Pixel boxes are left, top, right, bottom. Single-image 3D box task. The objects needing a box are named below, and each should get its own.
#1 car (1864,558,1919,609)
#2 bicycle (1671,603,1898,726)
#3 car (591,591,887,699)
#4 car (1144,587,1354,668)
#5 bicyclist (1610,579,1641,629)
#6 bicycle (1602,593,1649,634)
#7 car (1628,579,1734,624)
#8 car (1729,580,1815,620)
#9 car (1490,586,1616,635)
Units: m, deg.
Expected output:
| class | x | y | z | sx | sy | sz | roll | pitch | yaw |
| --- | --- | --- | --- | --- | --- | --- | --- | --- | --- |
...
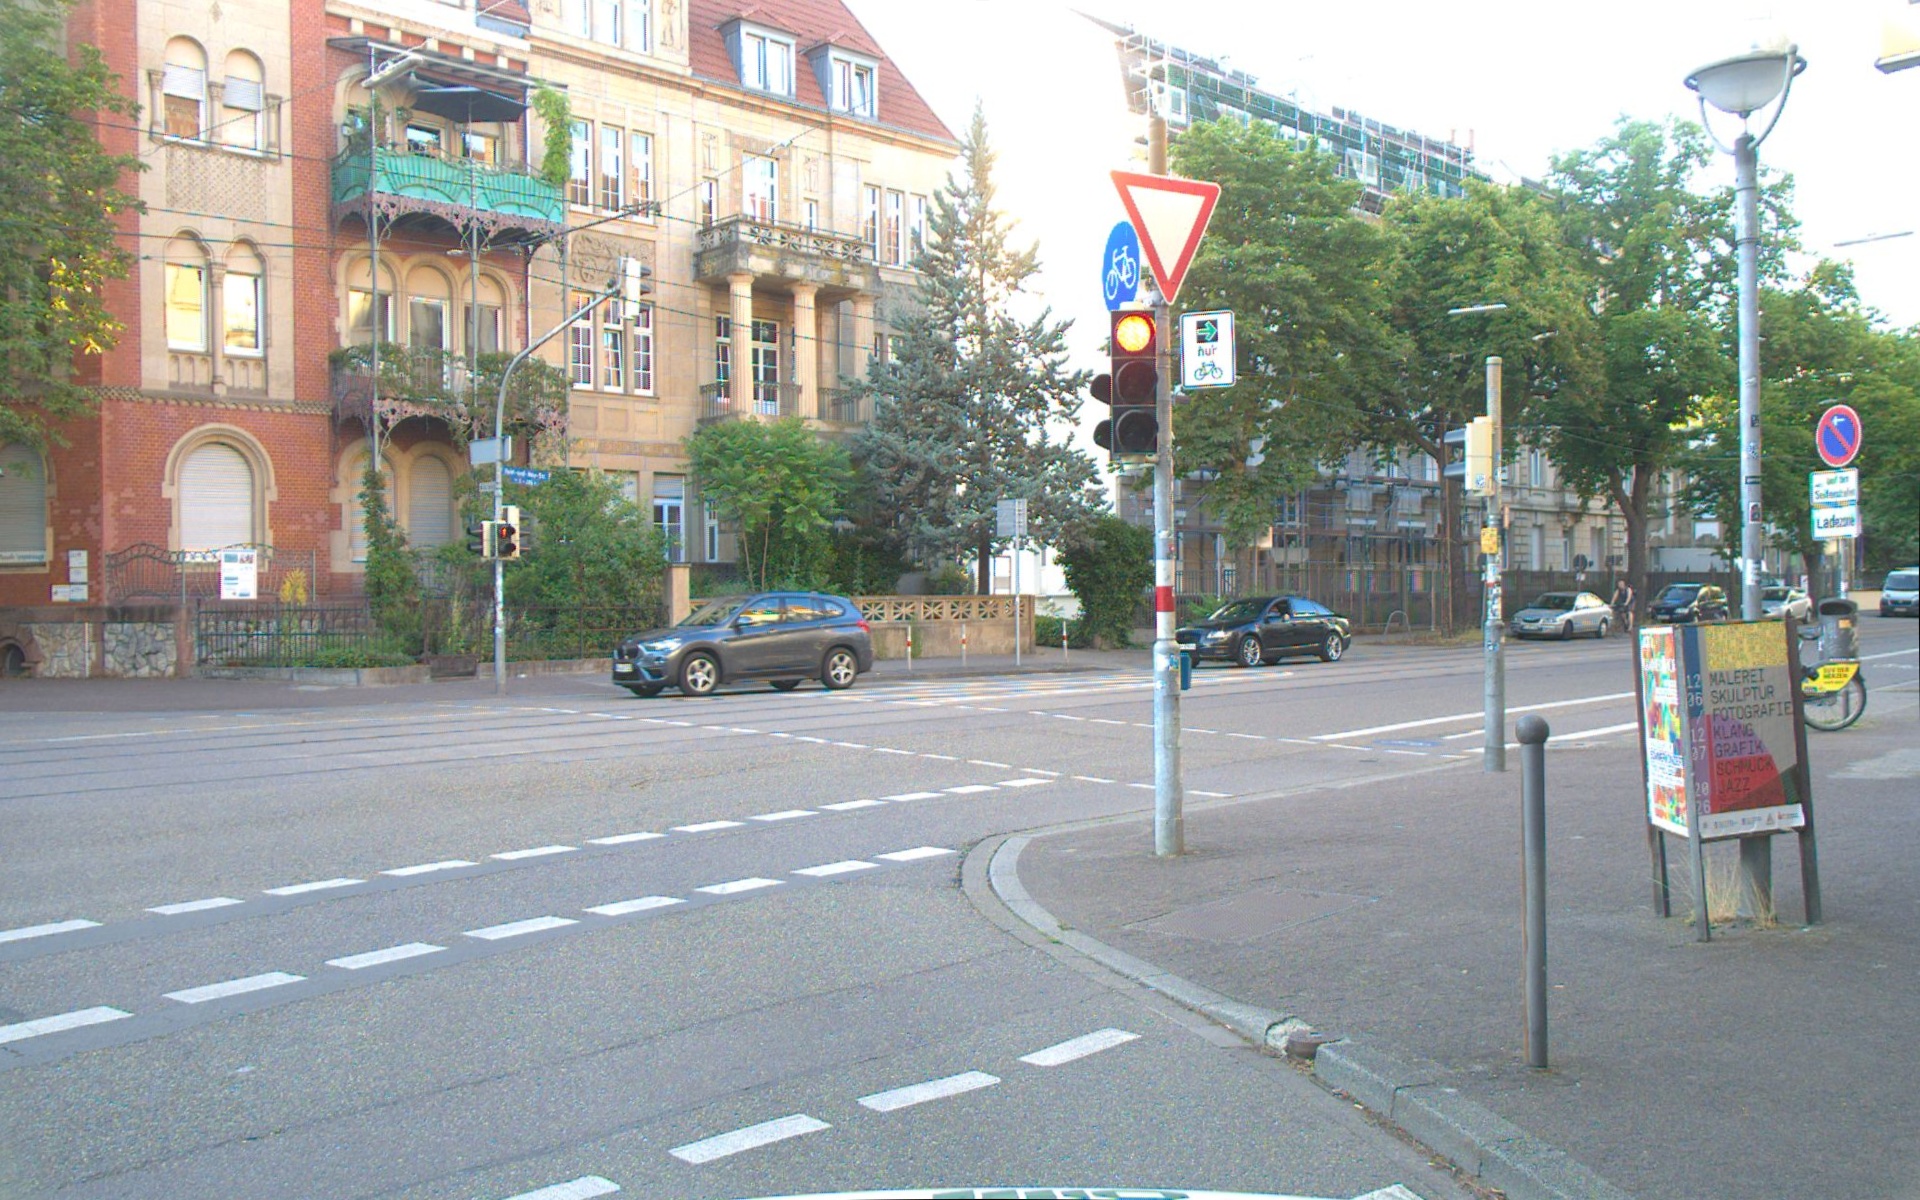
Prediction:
| class | x | y | z | sx | sy | sz | roll | pitch | yaw |
| --- | --- | --- | --- | --- | --- | --- | --- | --- | --- |
| car | 44.846 | -0.775 | 78.649 | 4.595 | 2.356 | 1.919 | -1 | 0 | -43 |
| bicycle | 7.979 | 0.616 | 16.074 | 1.832 | 1.150 | 0.732 | -1 | 0 | 10 |
| car | -3.469 | 0.656 | 26.428 | 4.380 | 1.536 | 1.921 | -1 | 0 | -41 |
| car | 6.153 | 0.535 | 34.876 | 4.591 | 1.536 | 1.921 | -1 | 0 | -41 |
| bicyclist | 19.536 | 0.118 | 48.546 | 0.729 | 1.453 | 0.547 | -1 | 0 | -38 |
| bicycle | 19.543 | 0.397 | 48.540 | 1.591 | 1.168 | 0.547 | -1 | 0 | -38 |
| car | 25.816 | 0.045 | 59.172 | 4.131 | 1.508 | 1.921 | -1 | 0 | -41 |
| car | 32.233 | -0.021 | 65.610 | 1.916 | 1.508 | 4.293 | -1 | 0 | 43 |
| car | 18.635 | 0.308 | 51.885 | 1.977 | 1.451 | 4.599 | -1 | 0 | 45 |
